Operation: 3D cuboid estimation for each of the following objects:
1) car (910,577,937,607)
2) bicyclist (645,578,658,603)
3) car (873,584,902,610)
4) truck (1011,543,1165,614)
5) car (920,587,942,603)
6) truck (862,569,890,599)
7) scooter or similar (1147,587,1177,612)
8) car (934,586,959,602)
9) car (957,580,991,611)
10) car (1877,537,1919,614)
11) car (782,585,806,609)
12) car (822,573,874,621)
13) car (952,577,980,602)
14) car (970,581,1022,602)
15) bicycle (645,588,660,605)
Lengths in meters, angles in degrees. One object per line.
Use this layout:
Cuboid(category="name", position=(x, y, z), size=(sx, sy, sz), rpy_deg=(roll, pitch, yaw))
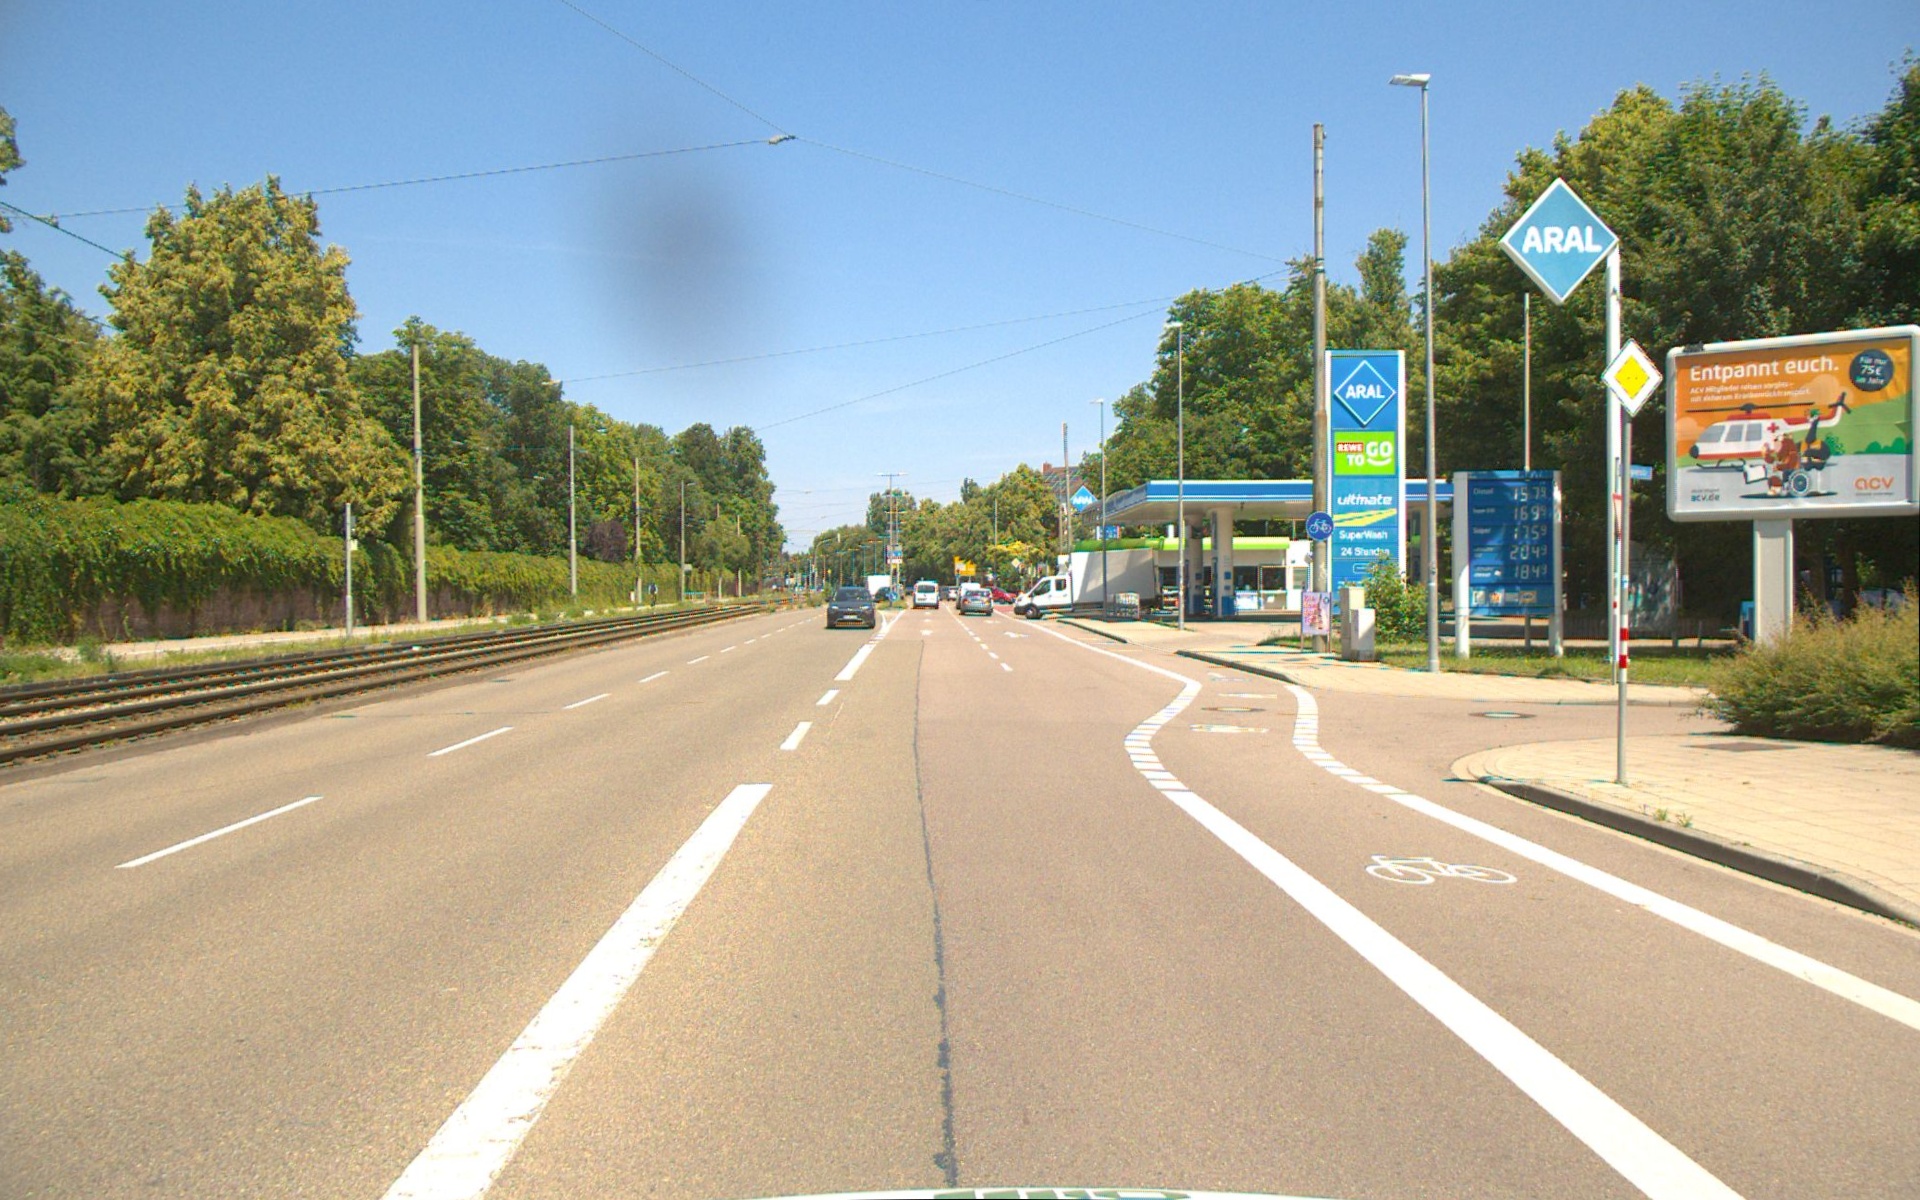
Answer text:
Cuboid(category="car", position=(-2.494, -0.559, 112.613), size=(1.720, 1.907, 4.322), rpy_deg=(-2, 0, -2))
Cuboid(category="bicyclist", position=(-21.056, -0.646, 112.949), size=(0.668, 1.601, 0.795), rpy_deg=(-4, -1, -3))
Cuboid(category="car", position=(-4.803, -0.216, 110.365), size=(1.720, 1.659, 4.323), rpy_deg=(-2, 0, 0))
Cuboid(category="truck", position=(6.775, -1.150, 87.376), size=(7.798, 3.665, 2.665), rpy_deg=(0, 0, 14))
Cuboid(category="car", position=(-3.521, -0.610, 203.216), size=(1.726, 1.872, 4.308), rpy_deg=(-2, 0, -14))
Cuboid(category="truck", position=(-8.120, -1.536, 159.196), size=(2.483, 2.726, 11.808), rpy_deg=(0, 1, -4))
Cuboid(category="scooter or similar", position=(11.076, -0.025, 90.665), size=(1.522, 1.351, 0.536), rpy_deg=(0, 0, -3))
Cuboid(category="car", position=(-1.420, -0.612, 171.103), size=(1.725, 1.659, 4.311), rpy_deg=(-2, 0, -12))
Cuboid(category="car", position=(0.795, -0.248, 94.988), size=(1.720, 1.659, 4.322), rpy_deg=(-2, 0, -2))
Cuboid(category="car", position=(21.827, -0.564, 35.286), size=(1.722, 1.659, 4.317), rpy_deg=(-2, 0, -7))
Cuboid(category="car", position=(-12.573, -0.232, 125.094), size=(1.722, 1.659, 4.317), rpy_deg=(-2, 0, -7))
Cuboid(category="car", position=(-4.141, -0.107, 61.628), size=(1.720, 1.659, 4.322), rpy_deg=(-2, 0, -2))
Cuboid(category="car", position=(0.367, -0.725, 113.771), size=(1.720, 1.659, 4.322), rpy_deg=(-2, 0, -2))
Cuboid(category="car", position=(3.099, -0.730, 142.785), size=(4.232, 1.688, 1.757), rpy_deg=(-2, 0, 33))
Cuboid(category="bicycle", position=(-21.019, -0.206, 112.938), size=(0.668, 1.072, 2.007), rpy_deg=(-4, -1, -3))
